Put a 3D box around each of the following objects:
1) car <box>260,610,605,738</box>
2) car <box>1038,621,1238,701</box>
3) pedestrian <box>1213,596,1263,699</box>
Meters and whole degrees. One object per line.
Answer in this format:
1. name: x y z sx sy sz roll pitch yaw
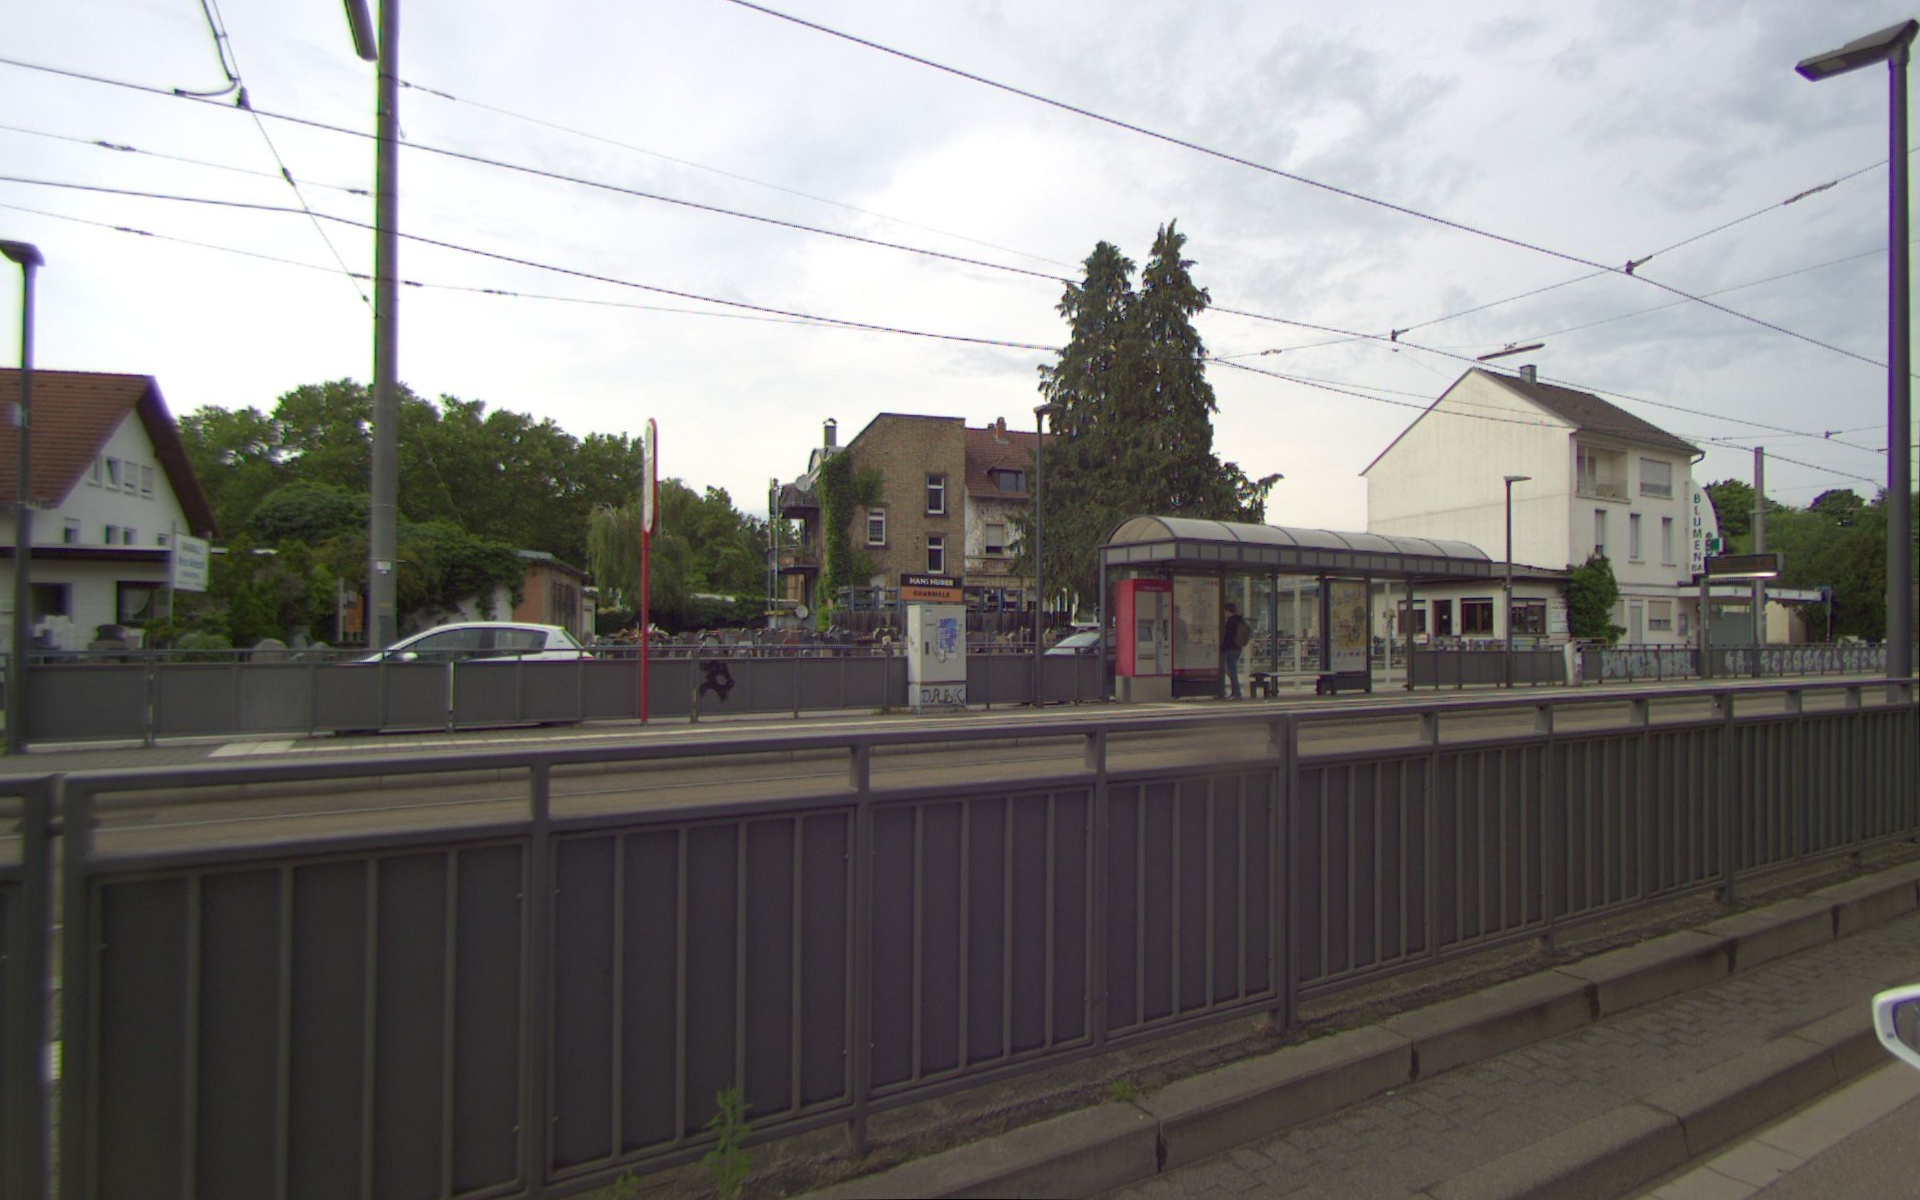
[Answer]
1. car: -7.135 0.970 13.758 3.959 1.505 1.853 1 -4 -34
2. car: 3.661 1.210 20.355 3.962 1.470 1.751 2 -2 -36
3. pedestrian: 4.693 0.784 16.963 0.684 1.686 0.616 1 -1 27
